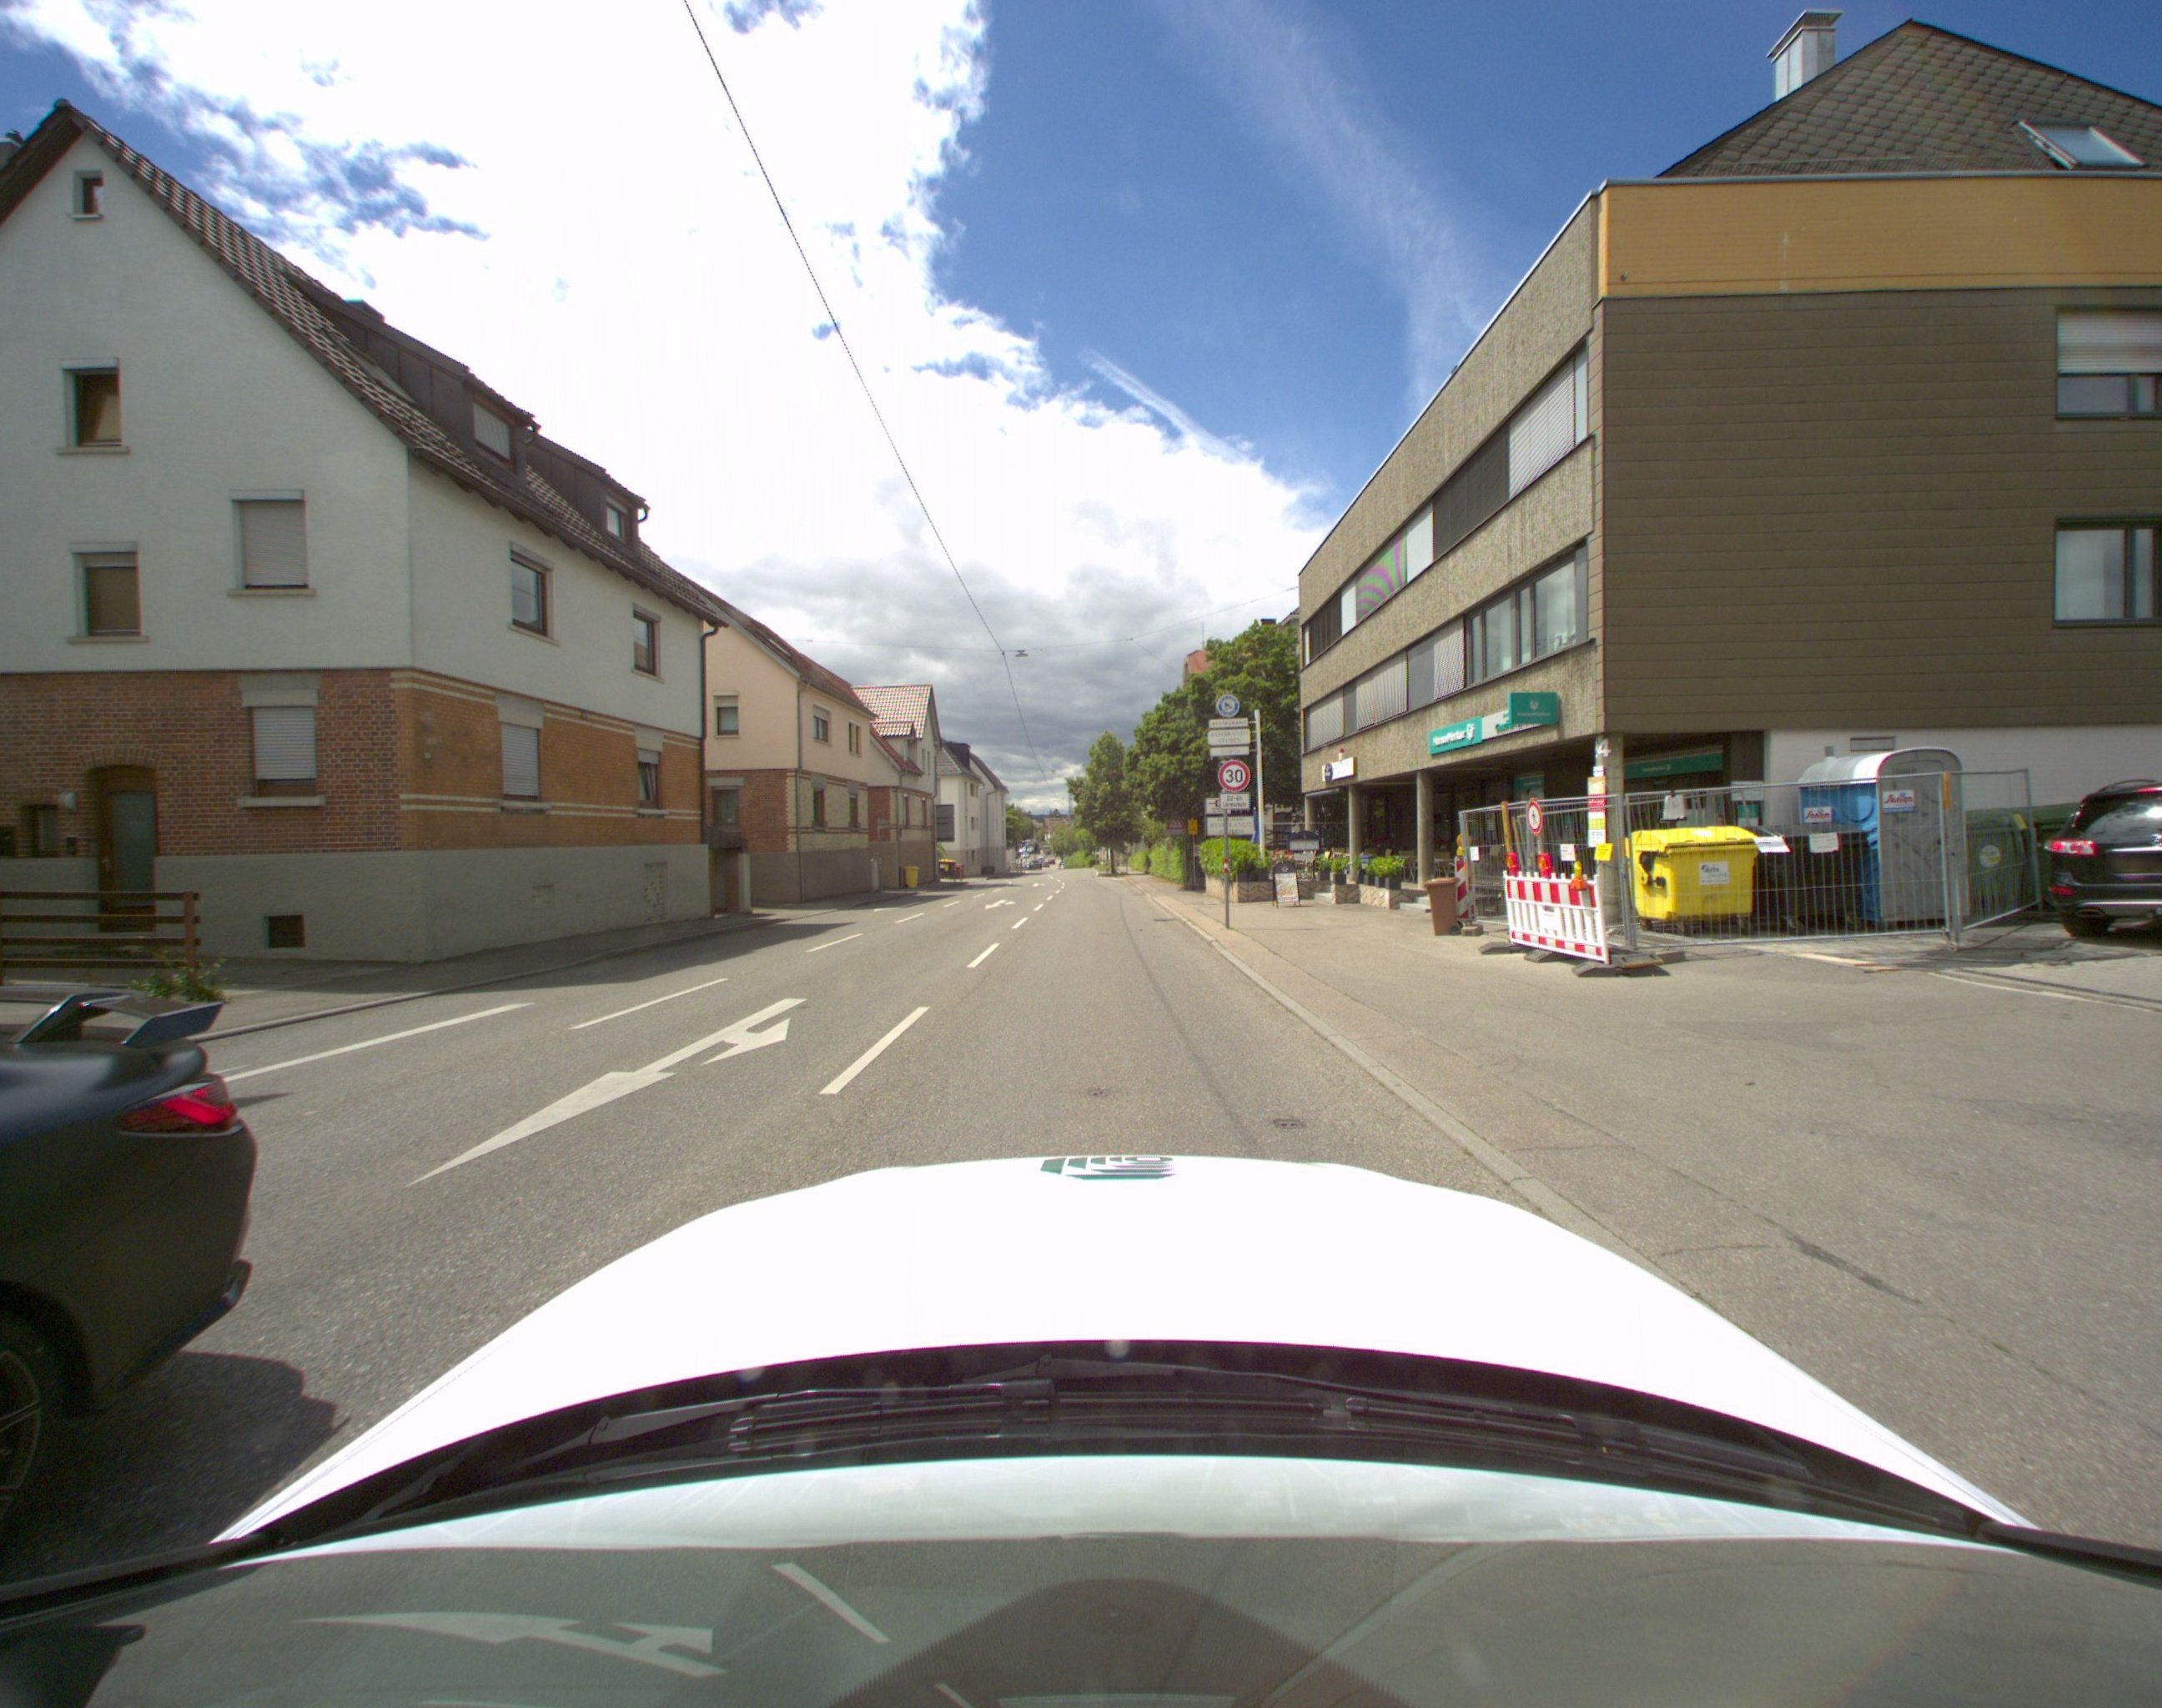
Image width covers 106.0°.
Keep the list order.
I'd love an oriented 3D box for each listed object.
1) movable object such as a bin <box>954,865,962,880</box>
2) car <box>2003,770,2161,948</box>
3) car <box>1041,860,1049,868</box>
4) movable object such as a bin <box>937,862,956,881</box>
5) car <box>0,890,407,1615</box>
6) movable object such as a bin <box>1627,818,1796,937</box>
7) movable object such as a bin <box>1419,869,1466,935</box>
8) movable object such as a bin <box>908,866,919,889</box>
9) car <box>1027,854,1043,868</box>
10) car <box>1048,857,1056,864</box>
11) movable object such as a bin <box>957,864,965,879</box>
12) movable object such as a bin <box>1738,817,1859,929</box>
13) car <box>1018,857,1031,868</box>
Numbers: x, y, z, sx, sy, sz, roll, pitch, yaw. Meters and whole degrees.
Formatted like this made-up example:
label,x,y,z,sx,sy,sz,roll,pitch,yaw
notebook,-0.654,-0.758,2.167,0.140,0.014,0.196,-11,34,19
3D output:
label,x,y,z,sx,sy,sz,roll,pitch,yaw
movable object such as a bin,-8.851,1.350,58.529,0.530,1.030,0.455,-1,0,-1
car,12.688,-0.086,8.968,3.774,1.778,1.907,-5,0,-17
car,-9.438,2.496,211.311,1.989,2.014,3.995,-2,-1,-3
movable object such as a bin,-9.477,1.212,57.424,1.279,1.310,0.815,-1,0,-5
car,-3.266,0.882,0.377,1.987,1.457,4.617,-2,0,0
movable object such as a bin,8.519,0.287,11.082,1.476,1.492,1.077,-2,2,3
movable object such as a bin,5.977,0.787,13.446,0.597,1.026,0.683,-2,0,30
movable object such as a bin,-8.510,1.194,41.417,0.430,1.128,0.299,-2,0,-1
car,-6.986,1.098,124.049,1.993,2.014,3.988,-1,0,-8
car,-8.023,1.793,226.611,1.989,2.014,3.995,-2,-1,-3
movable object such as a bin,-8.728,1.265,59.204,0.530,1.030,0.455,-1,0,-1
movable object such as a bin,9.679,0.228,11.024,0.776,1.440,1.019,-2,2,4
car,-10.362,1.607,149.315,1.993,2.014,3.988,-1,0,-8
